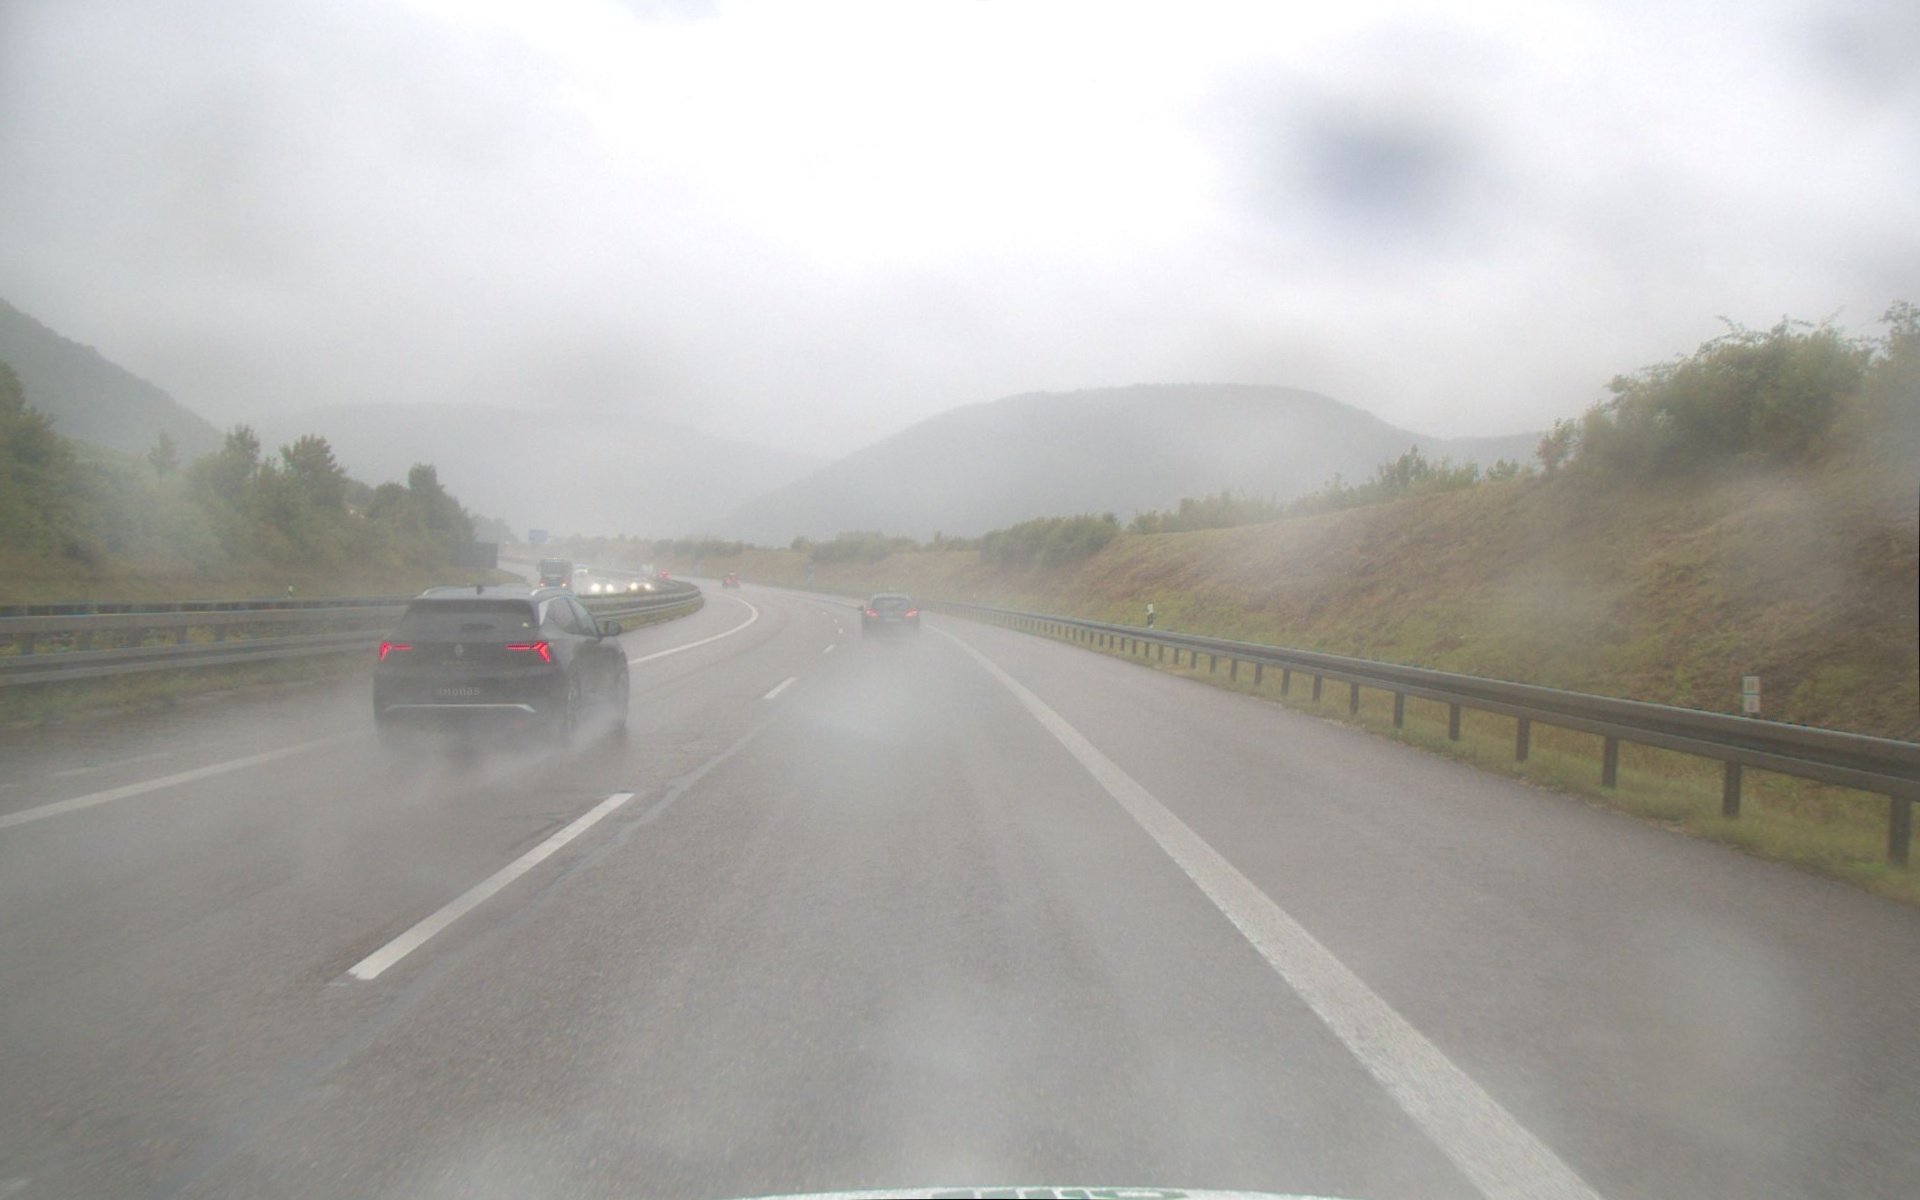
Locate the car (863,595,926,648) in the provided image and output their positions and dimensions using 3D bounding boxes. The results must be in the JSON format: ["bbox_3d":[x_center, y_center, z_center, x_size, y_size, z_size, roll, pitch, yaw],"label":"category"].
[{"bbox_3d":[-1.963,0.650,50.776,1.644,1.498,3.815,2,0,1],"label":"car"}]

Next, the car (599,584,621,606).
[{"bbox_3d":[-34.402,-0.510,162.541,1.879,2.049,3.991,1,0,-10],"label":"car"}]

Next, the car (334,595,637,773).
[{"bbox_3d":[-4.707,0.763,17.231,2.361,1.542,4.774,2,0,-8],"label":"car"}]

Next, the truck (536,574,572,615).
[{"bbox_3d":[-36.565,-0.508,149.078,2.665,3.604,5.300,1,0,-9],"label":"truck"}]
